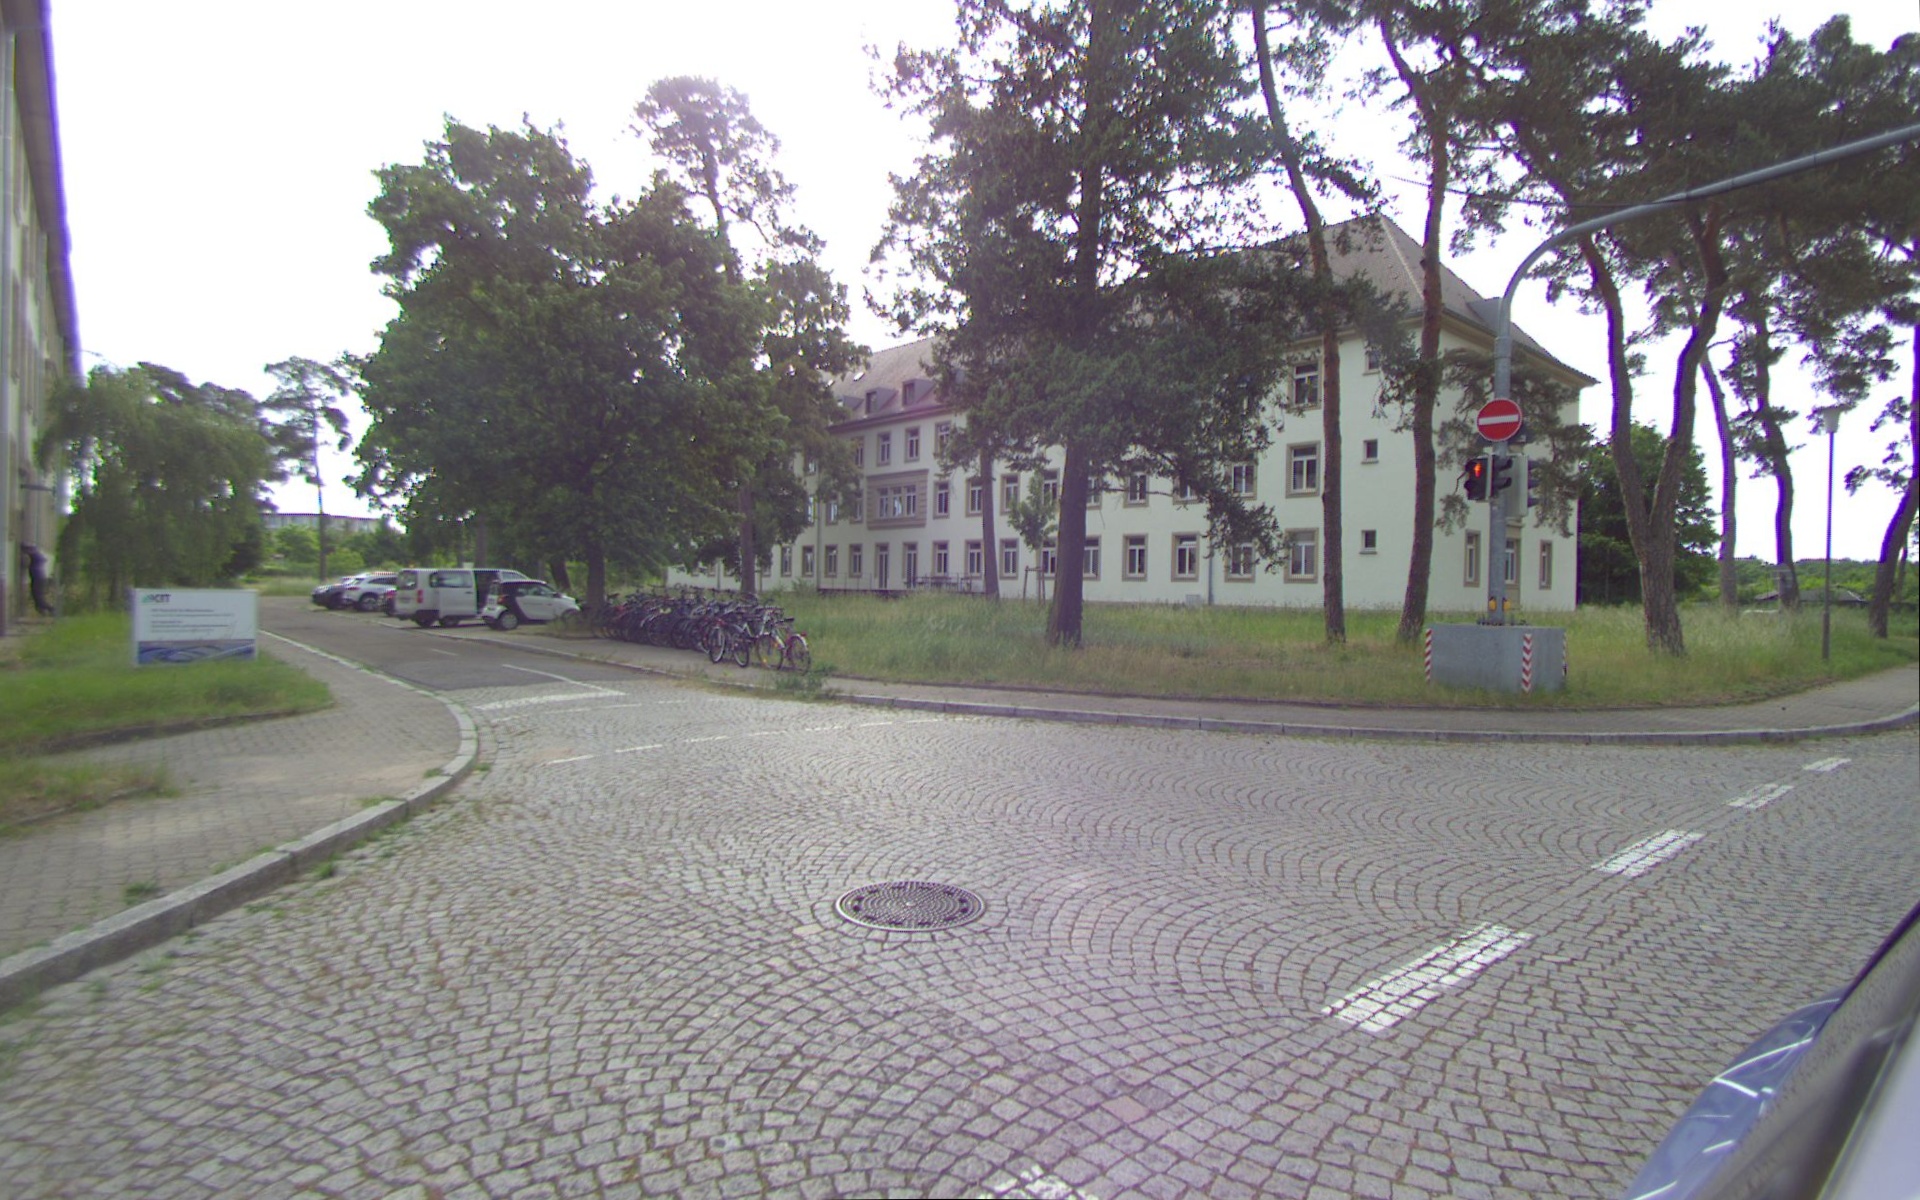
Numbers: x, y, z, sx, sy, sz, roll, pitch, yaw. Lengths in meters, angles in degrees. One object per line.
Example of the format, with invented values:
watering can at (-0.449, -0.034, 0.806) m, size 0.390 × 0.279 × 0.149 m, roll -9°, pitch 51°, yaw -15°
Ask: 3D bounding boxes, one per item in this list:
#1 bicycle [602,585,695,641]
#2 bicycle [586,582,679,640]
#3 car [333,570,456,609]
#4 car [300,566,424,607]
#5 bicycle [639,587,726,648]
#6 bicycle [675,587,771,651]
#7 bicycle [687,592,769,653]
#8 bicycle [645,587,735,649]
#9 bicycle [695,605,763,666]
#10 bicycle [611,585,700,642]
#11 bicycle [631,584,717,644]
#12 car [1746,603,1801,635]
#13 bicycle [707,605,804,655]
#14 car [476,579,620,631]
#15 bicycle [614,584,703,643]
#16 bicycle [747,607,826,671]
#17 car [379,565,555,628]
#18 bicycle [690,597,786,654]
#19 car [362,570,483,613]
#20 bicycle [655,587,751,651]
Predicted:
bicycle at (-7.634, 0.313, 24.837) m, size 2.092 × 1.336 × 0.556 m, roll 1°, pitch 0°, yaw -36°
bicycle at (-8.183, 0.264, 25.301) m, size 2.062 × 1.384 × 0.760 m, roll 1°, pitch 0°, yaw -36°
car at (-24.920, -0.463, 44.700) m, size 4.437 × 1.638 × 1.997 m, roll 0°, pitch 1°, yaw -41°
car at (-27.525, -0.603, 46.663) m, size 4.613 × 1.795 × 1.997 m, roll 0°, pitch 1°, yaw -41°
bicycle at (-6.288, 0.399, 22.988) m, size 1.882 × 1.336 × 0.393 m, roll 1°, pitch 0°, yaw -36°
bicycle at (-5.106, 0.406, 21.883) m, size 2.009 × 1.336 × 0.439 m, roll 1°, pitch 0°, yaw -36°
bicycle at (-4.896, 0.469, 21.393) m, size 1.608 × 1.231 × 0.543 m, roll 1°, pitch 0°, yaw -36°
bicycle at (-6.016, 0.403, 22.626) m, size 1.883 × 1.336 × 0.507 m, roll 1°, pitch 0°, yaw -36°
bicycle at (-4.190, 0.615, 18.296) m, size 0.533 × 1.027 × 1.538 m, roll 1°, pitch 0°, yaw -42°
bicycle at (-7.314, 0.315, 24.360) m, size 1.977 × 1.336 × 0.542 m, roll 1°, pitch 0°, yaw -36°
bicycle at (-6.609, 0.319, 23.413) m, size 1.818 × 1.336 × 0.557 m, roll 1°, pitch 0°, yaw -36°
car at (41.687, 0.951, 51.855) m, size 3.222 × 1.452 × 1.640 m, roll -2°, pitch 3°, yaw -41°
bicycle at (-4.112, 0.589, 20.439) m, size 1.866 × 0.961 × 0.543 m, roll 1°, pitch 0°, yaw -37°
car at (-13.056, 0.142, 32.145) m, size 3.861 × 1.549 × 1.861 m, roll 1°, pitch 1°, yaw -40°
bicycle at (-7.080, 0.314, 23.811) m, size 1.902 × 1.336 × 0.555 m, roll 1°, pitch 0°, yaw -36°
bicycle at (-2.942, 0.632, 17.058) m, size 0.521 × 0.992 × 1.623 m, roll 1°, pitch 0°, yaw -41°
car at (-16.298, -0.125, 33.695) m, size 2.224 × 1.934 × 4.804 m, roll 1°, pitch 1°, yaw 33°
bicycle at (-4.573, 0.515, 20.904) m, size 1.866 × 1.115 × 0.543 m, roll 1°, pitch 0°, yaw -36°
car at (-21.368, -0.347, 40.307) m, size 3.930 × 1.638 × 1.997 m, roll 0°, pitch 1°, yaw -41°
bicycle at (-5.617, 0.404, 22.190) m, size 1.938 × 1.336 × 0.578 m, roll 1°, pitch 0°, yaw -36°
